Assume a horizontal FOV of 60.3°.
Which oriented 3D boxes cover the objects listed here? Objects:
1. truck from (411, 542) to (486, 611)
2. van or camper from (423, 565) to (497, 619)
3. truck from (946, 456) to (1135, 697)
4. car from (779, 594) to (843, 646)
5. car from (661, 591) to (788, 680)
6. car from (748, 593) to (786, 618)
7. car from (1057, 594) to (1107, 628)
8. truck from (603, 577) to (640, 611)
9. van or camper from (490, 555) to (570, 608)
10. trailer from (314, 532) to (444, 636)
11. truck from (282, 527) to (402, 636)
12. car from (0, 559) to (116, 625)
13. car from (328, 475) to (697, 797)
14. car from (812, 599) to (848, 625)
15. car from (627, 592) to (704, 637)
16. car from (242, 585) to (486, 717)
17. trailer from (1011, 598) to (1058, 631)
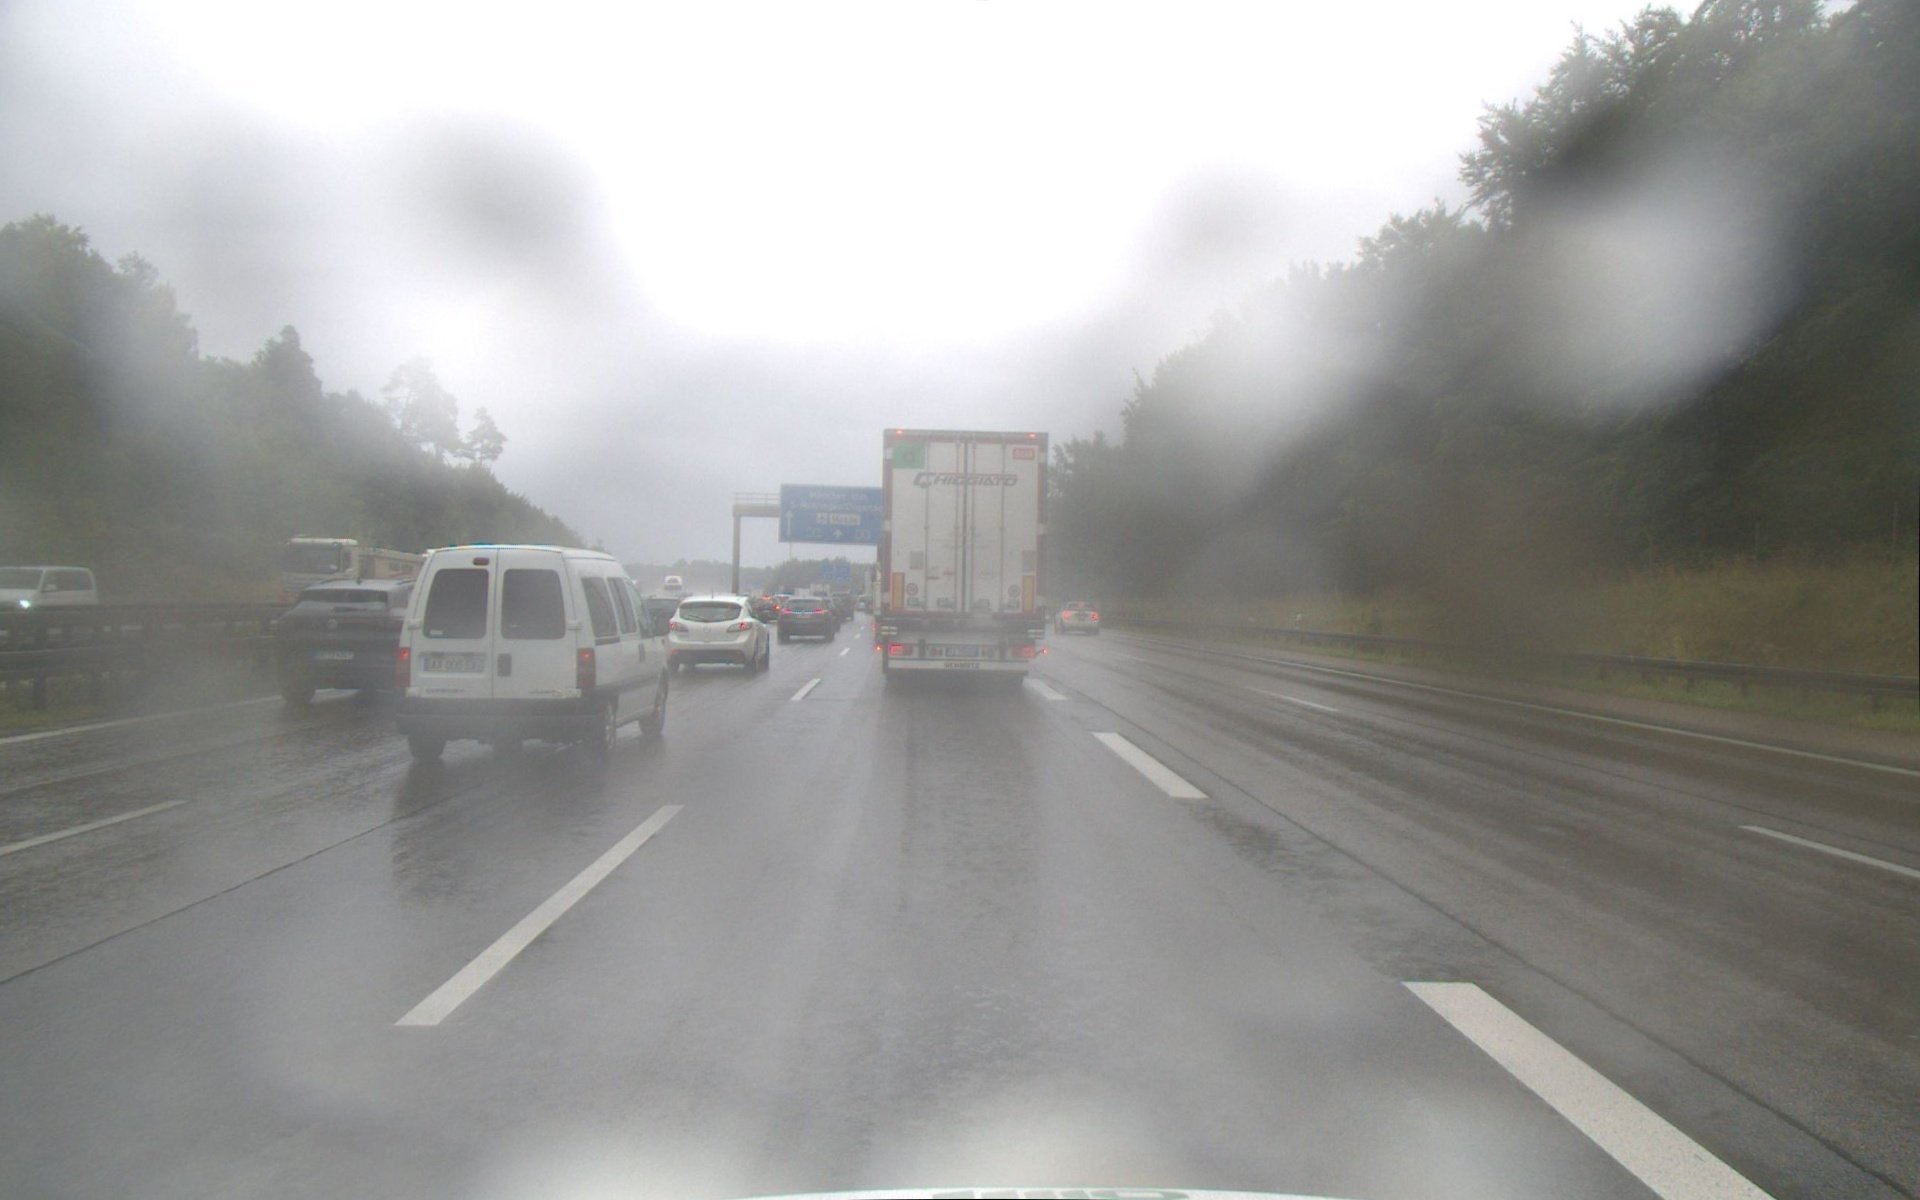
[{"bbox_3d":[-30.038,-1.356,97.312,2.649,3.884,6.261,1,0,-2],"label":"truck"},{"bbox_3d":[-25.185,-0.429,83.542,2.154,2.592,6.116,0,1,-3],"label":"van or camper"},{"bbox_3d":[1.266,-0.342,30.821,2.813,3.624,11.302,1,0,0],"label":"truck"},{"bbox_3d":[-4.998,0.651,55.906,1.808,1.619,4.466,1,0,-1],"label":"car"},{"bbox_3d":[-4.572,0.645,32.642,1.807,1.619,4.072,1,0,1],"label":"car"},{"bbox_3d":[-11.115,0.291,95.449,1.808,1.354,4.465,1,0,-2],"label":"car"},{"bbox_3d":[5.428,0.454,73.934,1.754,1.431,4.226,1,0,-2],"label":"car"},{"bbox_3d":[-36.933,-0.647,180.929,2.470,3.544,11.709,1,0,-4],"label":"truck"},{"bbox_3d":[-26.021,-1.088,100.504,2.785,3.030,8.783,1,0,-2],"label":"van or camper"},{"bbox_3d":[-24.060,-0.635,69.049,2.329,4.023,9.419,0,0,-1],"label":"trailer"},{"bbox_3d":[-23.936,-0.675,64.382,2.329,4.023,6.535,0,0,-1],"label":"truck"},{"bbox_3d":[-26.097,-0.239,47.162,1.955,1.801,5.032,0,1,-7],"label":"car"},{"bbox_3d":[-4.088,0.276,16.139,2.167,2.618,5.016,1,0,0],"label":"car"},{"bbox_3d":[-7.338,0.676,93.675,1.808,1.354,4.465,1,0,-2],"label":"car"},{"bbox_3d":[-9.420,0.442,53.244,1.808,1.354,4.465,1,0,-2],"label":"car"},{"bbox_3d":[-8.063,0.613,22.826,1.808,1.619,4.465,1,0,-1],"label":"car"},{"bbox_3d":[4.252,0.823,95.021,2.198,1.744,5.080,1,0,-3],"label":"trailer"}]
